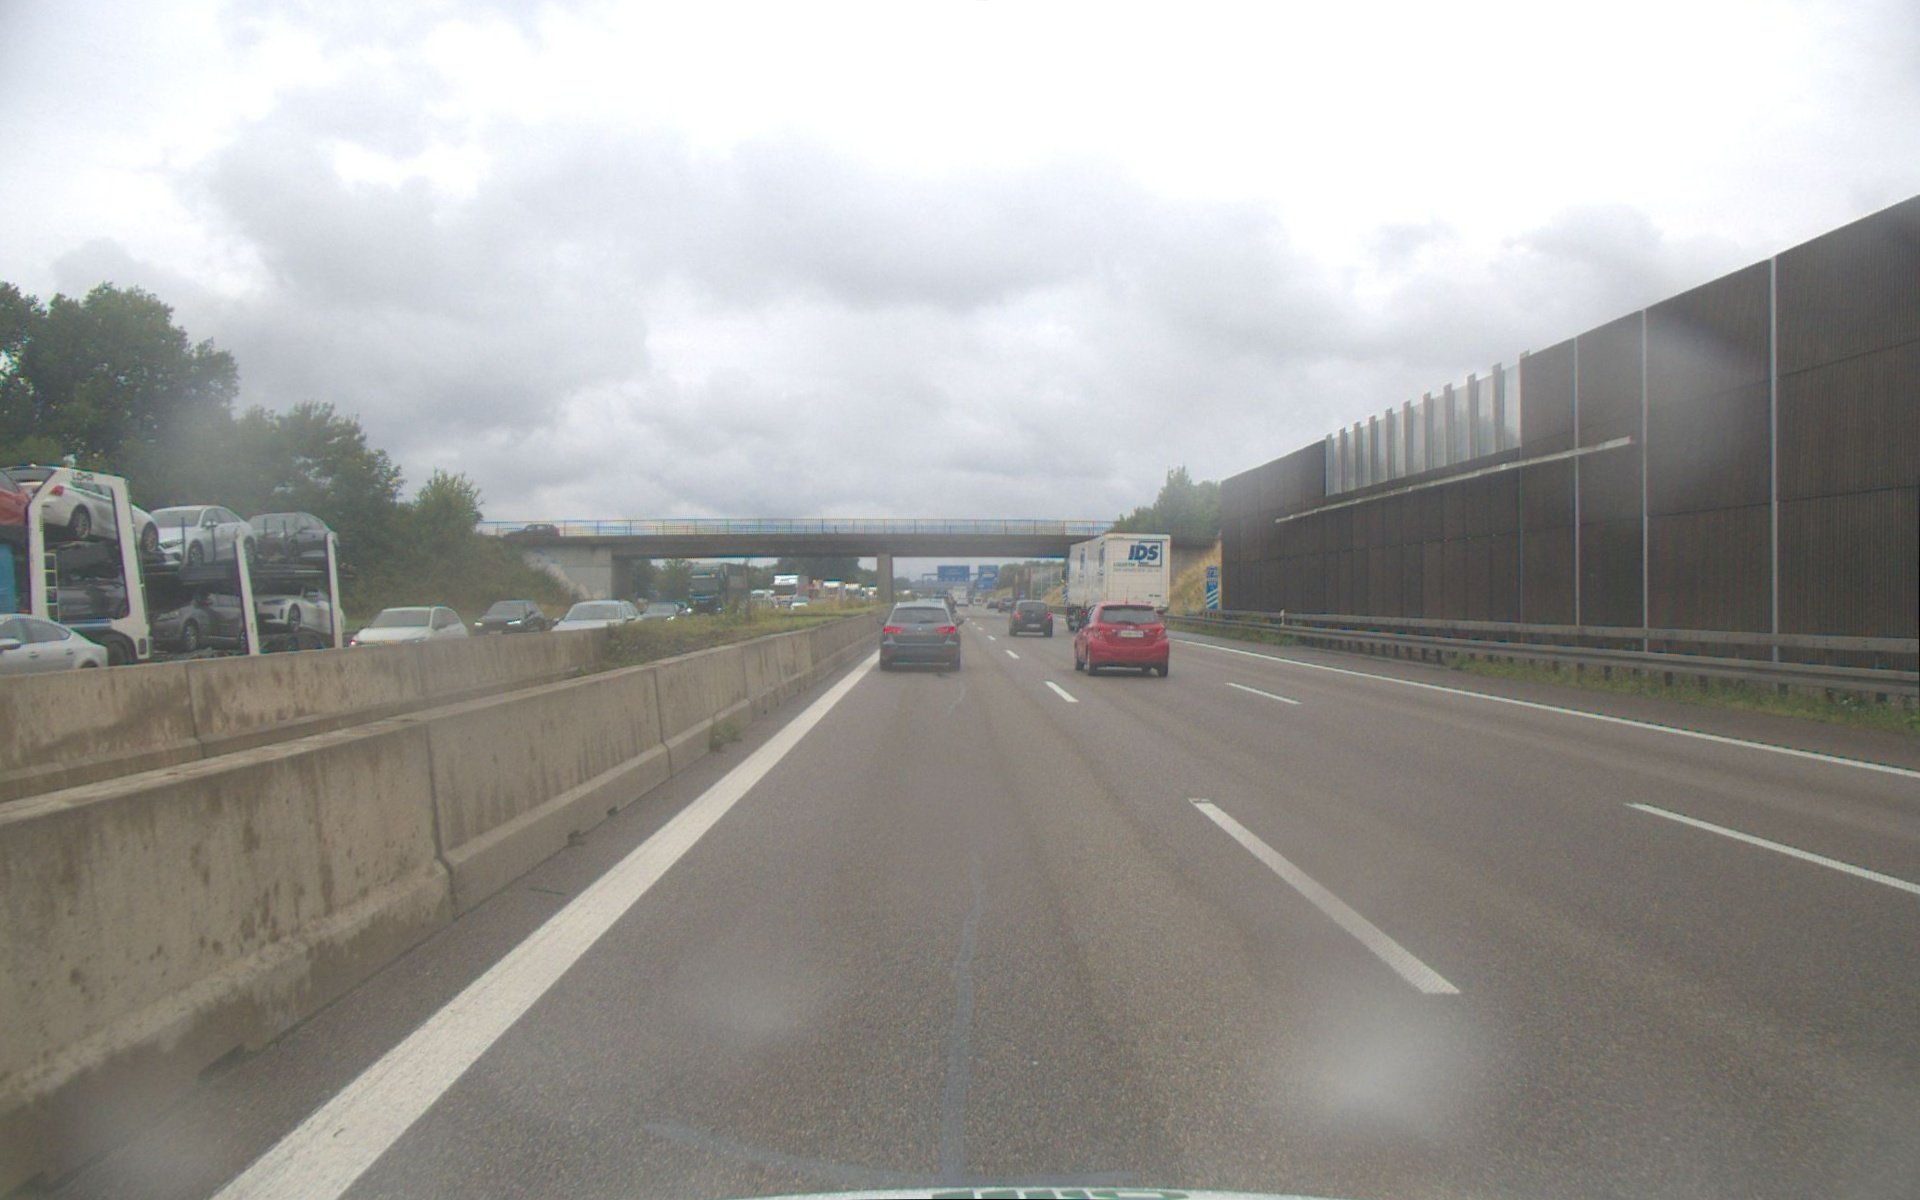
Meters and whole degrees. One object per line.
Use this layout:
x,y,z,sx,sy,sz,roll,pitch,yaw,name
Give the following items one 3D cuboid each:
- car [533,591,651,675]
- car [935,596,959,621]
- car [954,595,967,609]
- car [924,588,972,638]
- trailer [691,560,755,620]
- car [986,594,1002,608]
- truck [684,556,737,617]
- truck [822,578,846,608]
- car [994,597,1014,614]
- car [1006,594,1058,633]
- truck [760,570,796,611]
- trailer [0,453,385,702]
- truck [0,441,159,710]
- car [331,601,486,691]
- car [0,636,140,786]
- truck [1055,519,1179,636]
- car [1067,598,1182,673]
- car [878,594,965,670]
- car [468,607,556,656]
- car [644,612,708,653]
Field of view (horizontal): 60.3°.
-9.035,0.780,40.926,1.888,1.912,4.589,1,0,-1,car
-0.976,0.648,124.884,1.670,1.828,3.853,-1,0,-3,car
0.038,0.273,254.073,1.953,2.049,4.241,1,0,-1,car
-0.485,0.492,64.731,1.788,1.882,3.999,-1,0,-1,car
-17.438,-0.640,122.478,2.701,4.121,14.516,1,0,-1,trailer
4.578,0.127,222.996,1.953,1.843,4.227,-1,0,-1,car
-17.402,-0.893,115.654,2.701,4.121,6.254,1,0,-1,truck
-19.038,-0.993,250.259,2.916,4.394,9.668,1,0,0,truck
4.499,0.559,170.258,1.808,1.716,3.998,1,0,-2,car
2.953,0.519,68.361,1.882,1.548,4.621,0,0,-1,car
-19.193,-0.966,174.926,3.206,4.116,5.291,1,0,-1,truck
-17.006,-0.368,36.812,2.937,4.316,15.705,1,0,0,trailer
-16.907,-0.417,28.736,2.897,4.316,6.233,1,0,-1,truck
-12.832,1.028,38.818,1.953,1.912,5.031,1,0,-1,car
-12.925,1.414,21.505,2.051,1.740,5.163,0,0,-2,car
6.547,-0.807,72.613,3.217,4.370,19.028,1,0,-1,truck
3.412,0.699,35.152,1.853,1.472,4.683,0,0,-2,car
-0.821,0.664,35.743,1.733,1.493,3.999,1,0,-1,car
-17.269,1.191,64.005,2.050,1.740,4.961,0,0,0,car
-12.950,1.445,75.700,2.050,1.740,4.800,0,0,0,car
